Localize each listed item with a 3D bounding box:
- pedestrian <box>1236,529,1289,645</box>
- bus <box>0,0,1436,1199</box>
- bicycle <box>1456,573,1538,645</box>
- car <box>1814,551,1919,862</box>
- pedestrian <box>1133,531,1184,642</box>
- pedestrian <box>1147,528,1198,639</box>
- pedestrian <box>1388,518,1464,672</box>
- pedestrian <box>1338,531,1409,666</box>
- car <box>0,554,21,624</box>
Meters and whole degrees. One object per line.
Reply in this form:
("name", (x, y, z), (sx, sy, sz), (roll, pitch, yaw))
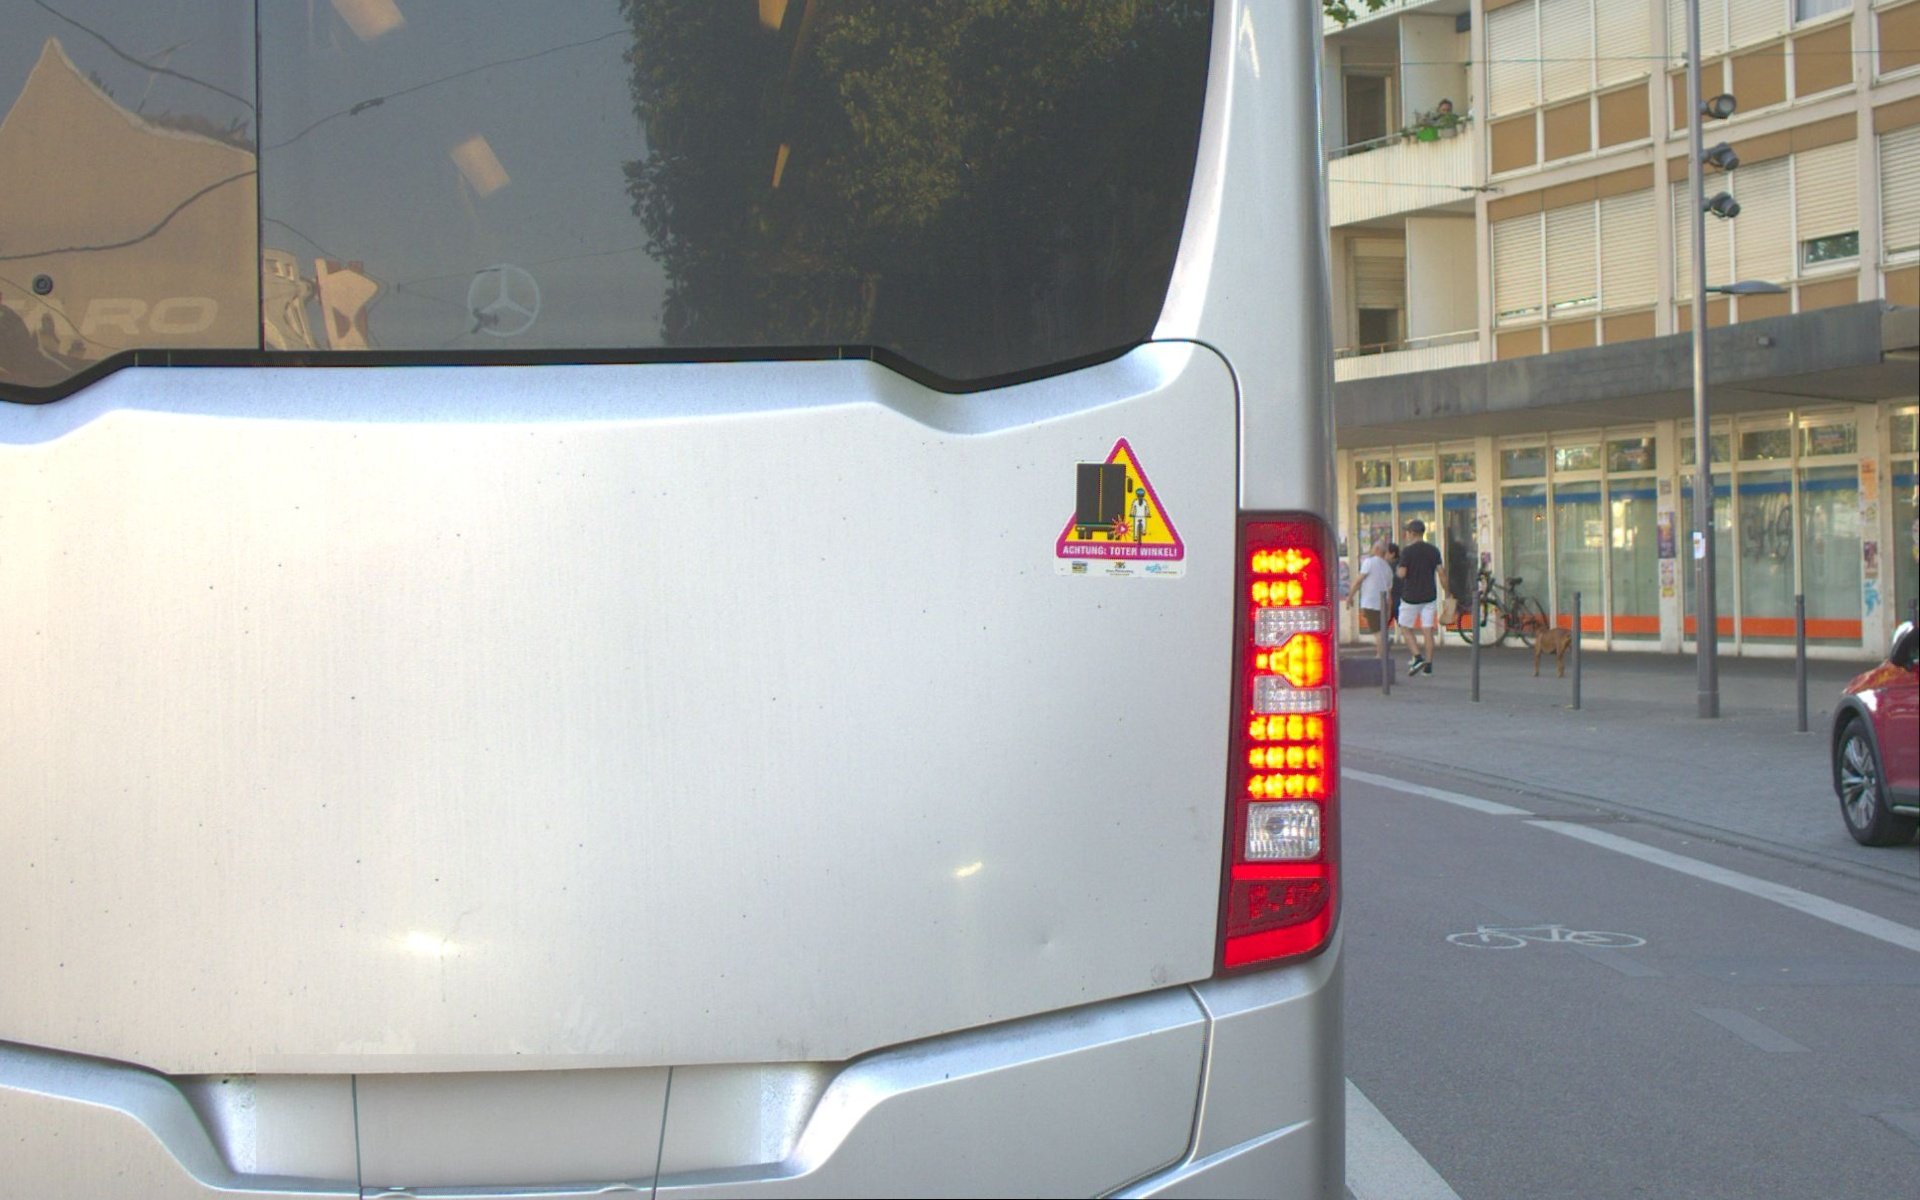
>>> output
("pedestrian", (4.327, -0.186, 49.179), (0.535, 1.643, 0.616), (-1, 1, -17))
("bus", (-0.719, -0.123, 9.788), (2.630, 3.017, 9.998), (0, 1, -1))
("bicycle", (7.130, 0.113, 45.686), (0.412, 0.941, 1.441), (-1, 1, -20))
("car", (5.524, 0.498, 15.853), (1.769, 1.477, 4.304), (-2, 1, -4))
("pedestrian", (2.956, -0.205, 51.260), (0.535, 1.643, 0.616), (-1, 1, -17))
("pedestrian", (3.176, -0.246, 51.398), (0.535, 1.643, 0.616), (-1, 1, -17))
("pedestrian", (5.236, -0.059, 38.618), (0.645, 1.711, 0.560), (-1, 1, -16))
("pedestrian", (4.920, -0.024, 40.918), (0.645, 1.576, 0.560), (-1, 1, -16))
("car", (-25.953, -0.296, 88.277), (1.994, 1.785, 3.998), (1, 0, -41))
